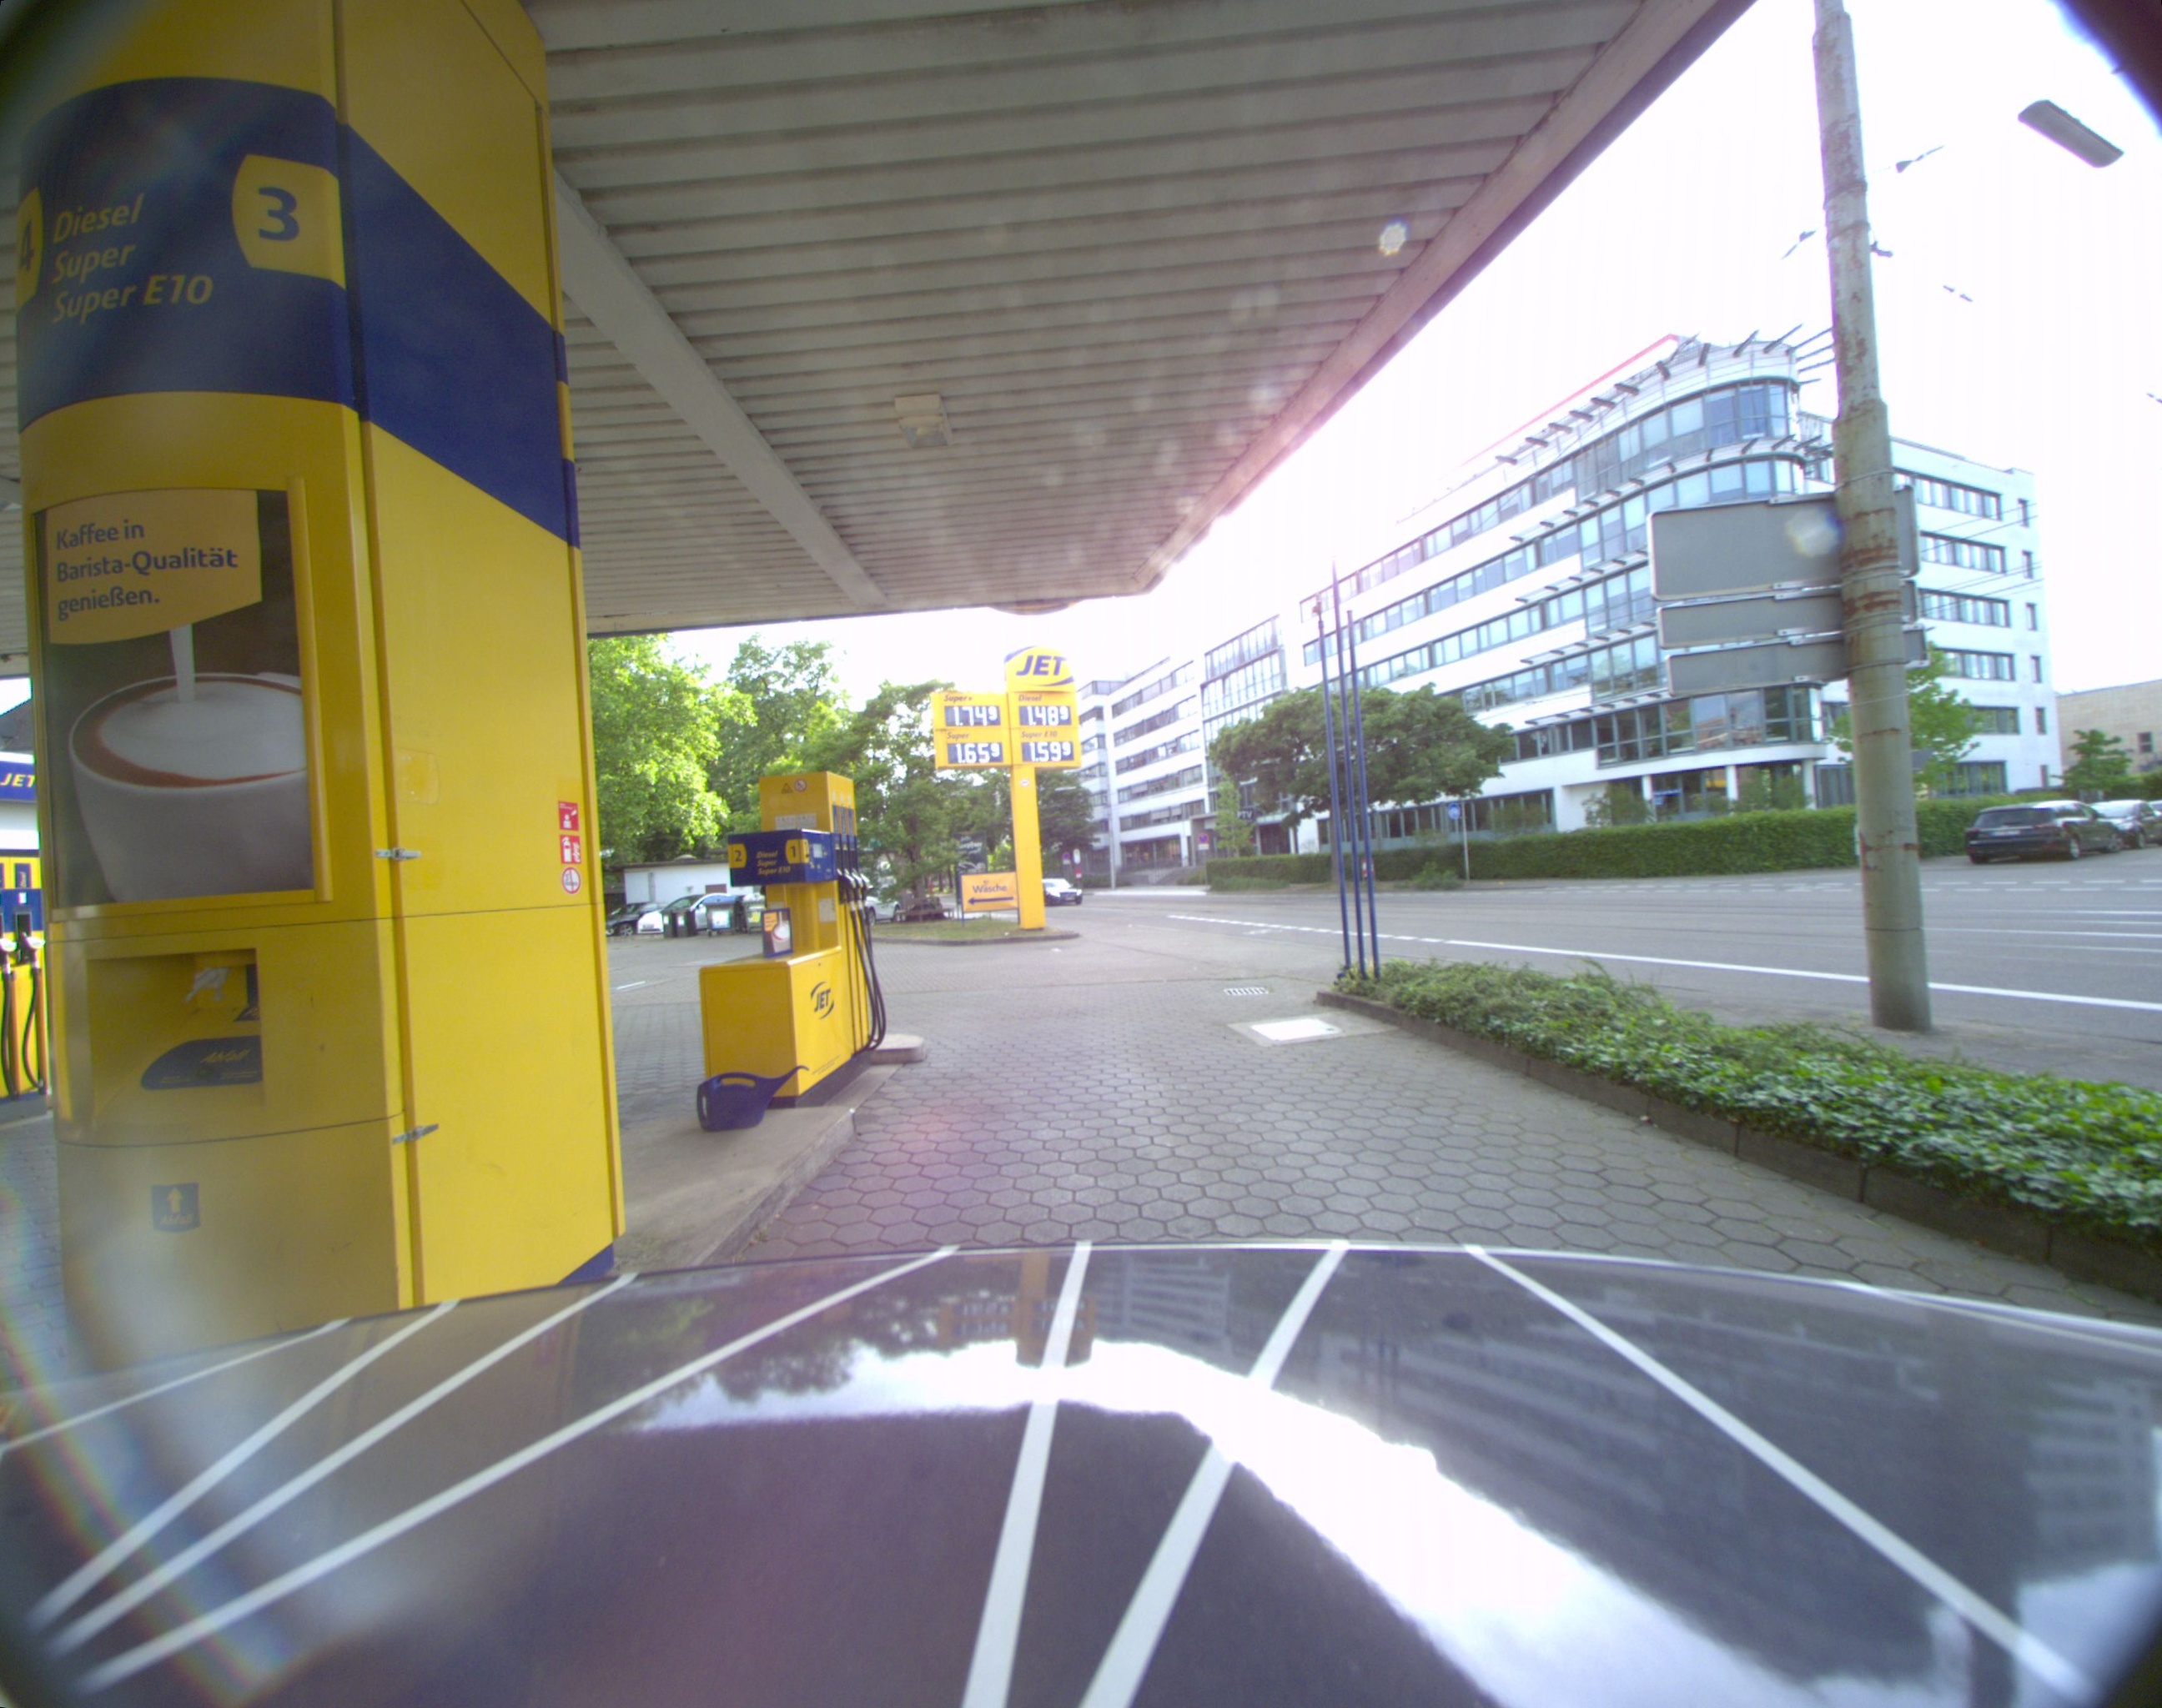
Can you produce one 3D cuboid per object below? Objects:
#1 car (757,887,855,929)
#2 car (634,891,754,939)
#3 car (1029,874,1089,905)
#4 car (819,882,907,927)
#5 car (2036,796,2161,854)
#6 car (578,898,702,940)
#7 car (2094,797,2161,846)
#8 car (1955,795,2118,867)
[{"bbox_3d":[-11.647,2.274,32.494,1.771,1.591,4.400,-4,-4,13],"label":"car"},{"bbox_3d":[-15.284,2.372,30.315,1.771,1.591,4.398,-2,-1,14],"label":"car"},{"bbox_3d":[-1.281,1.950,41.757,1.756,1.460,4.563,-4,-1,-21],"label":"car"},{"bbox_3d":[-8.629,2.008,30.504,1.772,1.591,4.398,-4,-3,6],"label":"car"},{"bbox_3d":[32.553,-0.940,24.099,4.296,1.530,1.945,-4,-1,-27],"label":"car"},{"bbox_3d":[-17.787,2.598,30.909,1.771,1.367,4.398,-2,-1,14],"label":"car"},{"bbox_3d":[37.135,-1.197,26.151,4.296,1.509,1.945,-4,-1,-27],"label":"car"},{"bbox_3d":[27.282,-0.662,21.696,4.296,1.681,2.010,-4,-1,-27],"label":"car"}]
